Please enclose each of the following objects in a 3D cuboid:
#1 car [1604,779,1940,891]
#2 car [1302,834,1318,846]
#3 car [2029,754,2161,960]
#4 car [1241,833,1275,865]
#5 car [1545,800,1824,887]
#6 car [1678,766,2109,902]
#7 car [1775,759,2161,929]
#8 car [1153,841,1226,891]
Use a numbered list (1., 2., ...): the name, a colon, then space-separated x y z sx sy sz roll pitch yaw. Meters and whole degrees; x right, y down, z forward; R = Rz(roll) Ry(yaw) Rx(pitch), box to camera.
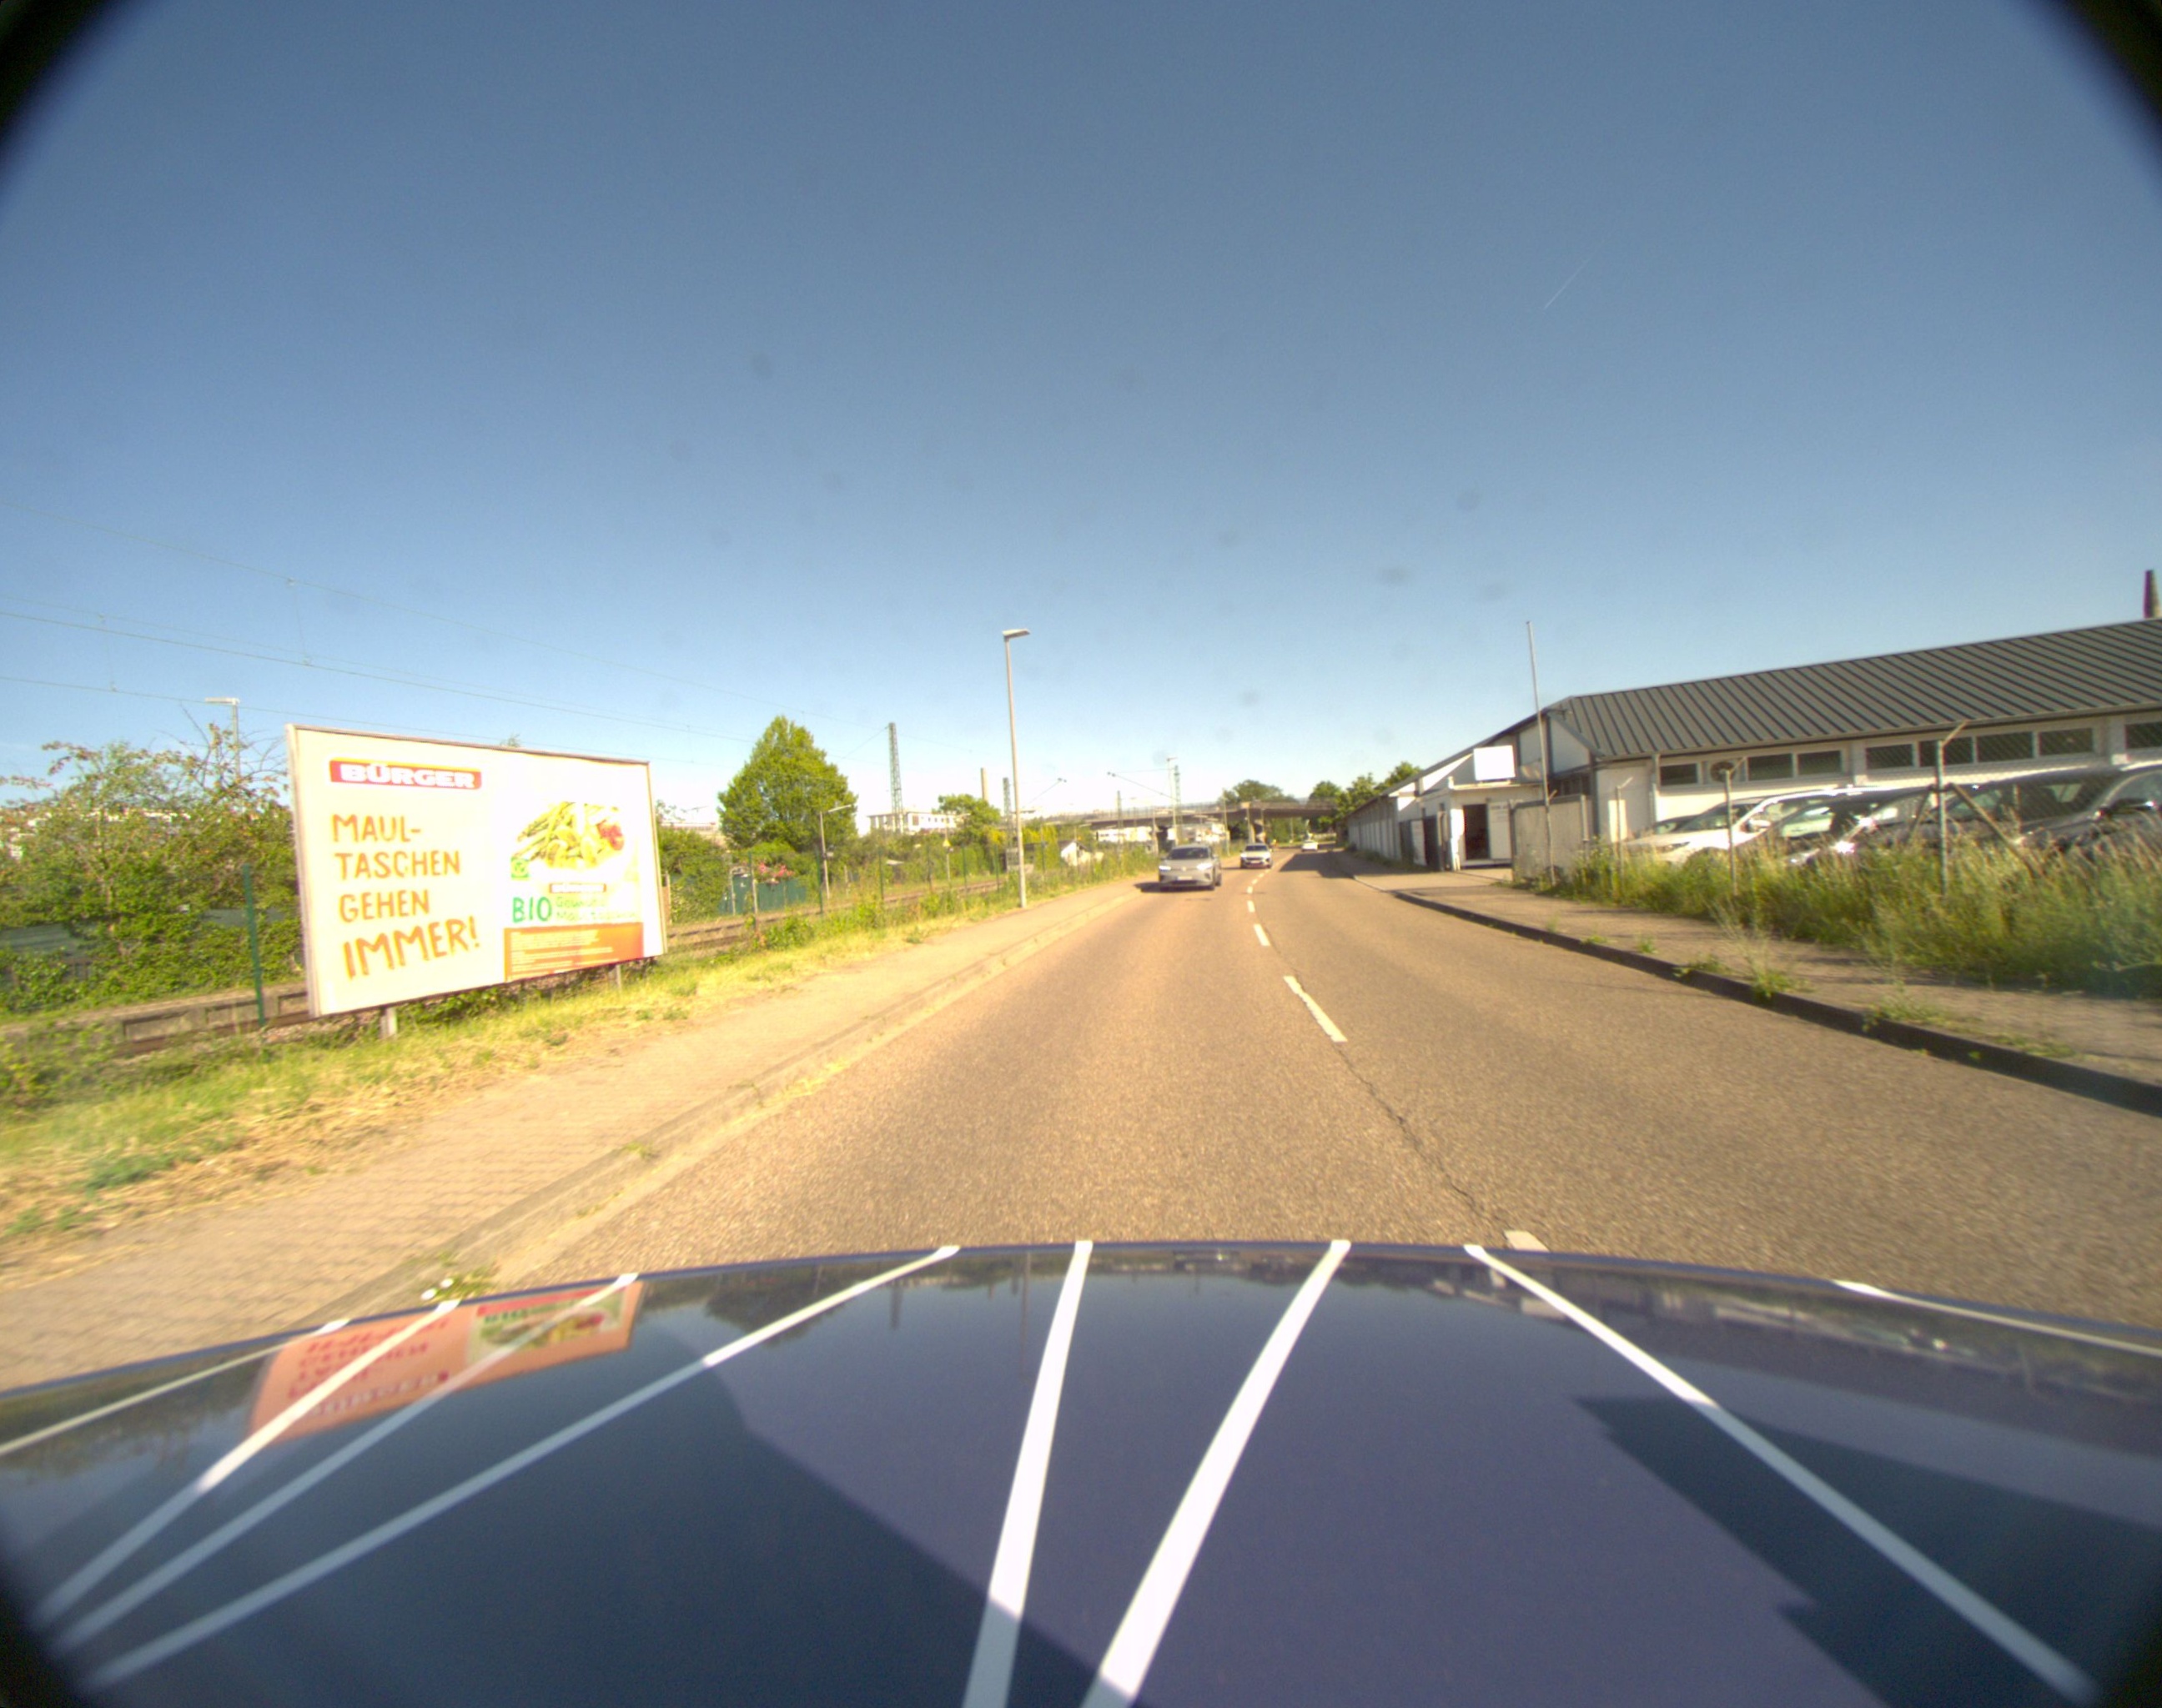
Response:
1. car: 12.466 -0.335 13.940 4.400 1.639 1.840 -4 1 1
2. car: 29.268 -1.838 97.094 1.811 1.470 4.692 -2 1 16
3. car: 10.749 -0.119 6.368 4.405 1.639 1.838 -4 1 -15
4. car: 11.033 -0.337 47.245 1.880 1.814 4.299 -2 1 15
5. car: 12.940 -0.219 16.549 4.398 1.498 1.841 -4 1 7
6. car: 12.185 -0.277 11.684 4.399 1.639 1.841 -4 1 5
7. car: 11.215 -0.181 8.876 4.400 1.639 1.840 -4 1 2
8. car: 3.956 0.366 27.067 1.848 1.621 4.300 -1 1 17
